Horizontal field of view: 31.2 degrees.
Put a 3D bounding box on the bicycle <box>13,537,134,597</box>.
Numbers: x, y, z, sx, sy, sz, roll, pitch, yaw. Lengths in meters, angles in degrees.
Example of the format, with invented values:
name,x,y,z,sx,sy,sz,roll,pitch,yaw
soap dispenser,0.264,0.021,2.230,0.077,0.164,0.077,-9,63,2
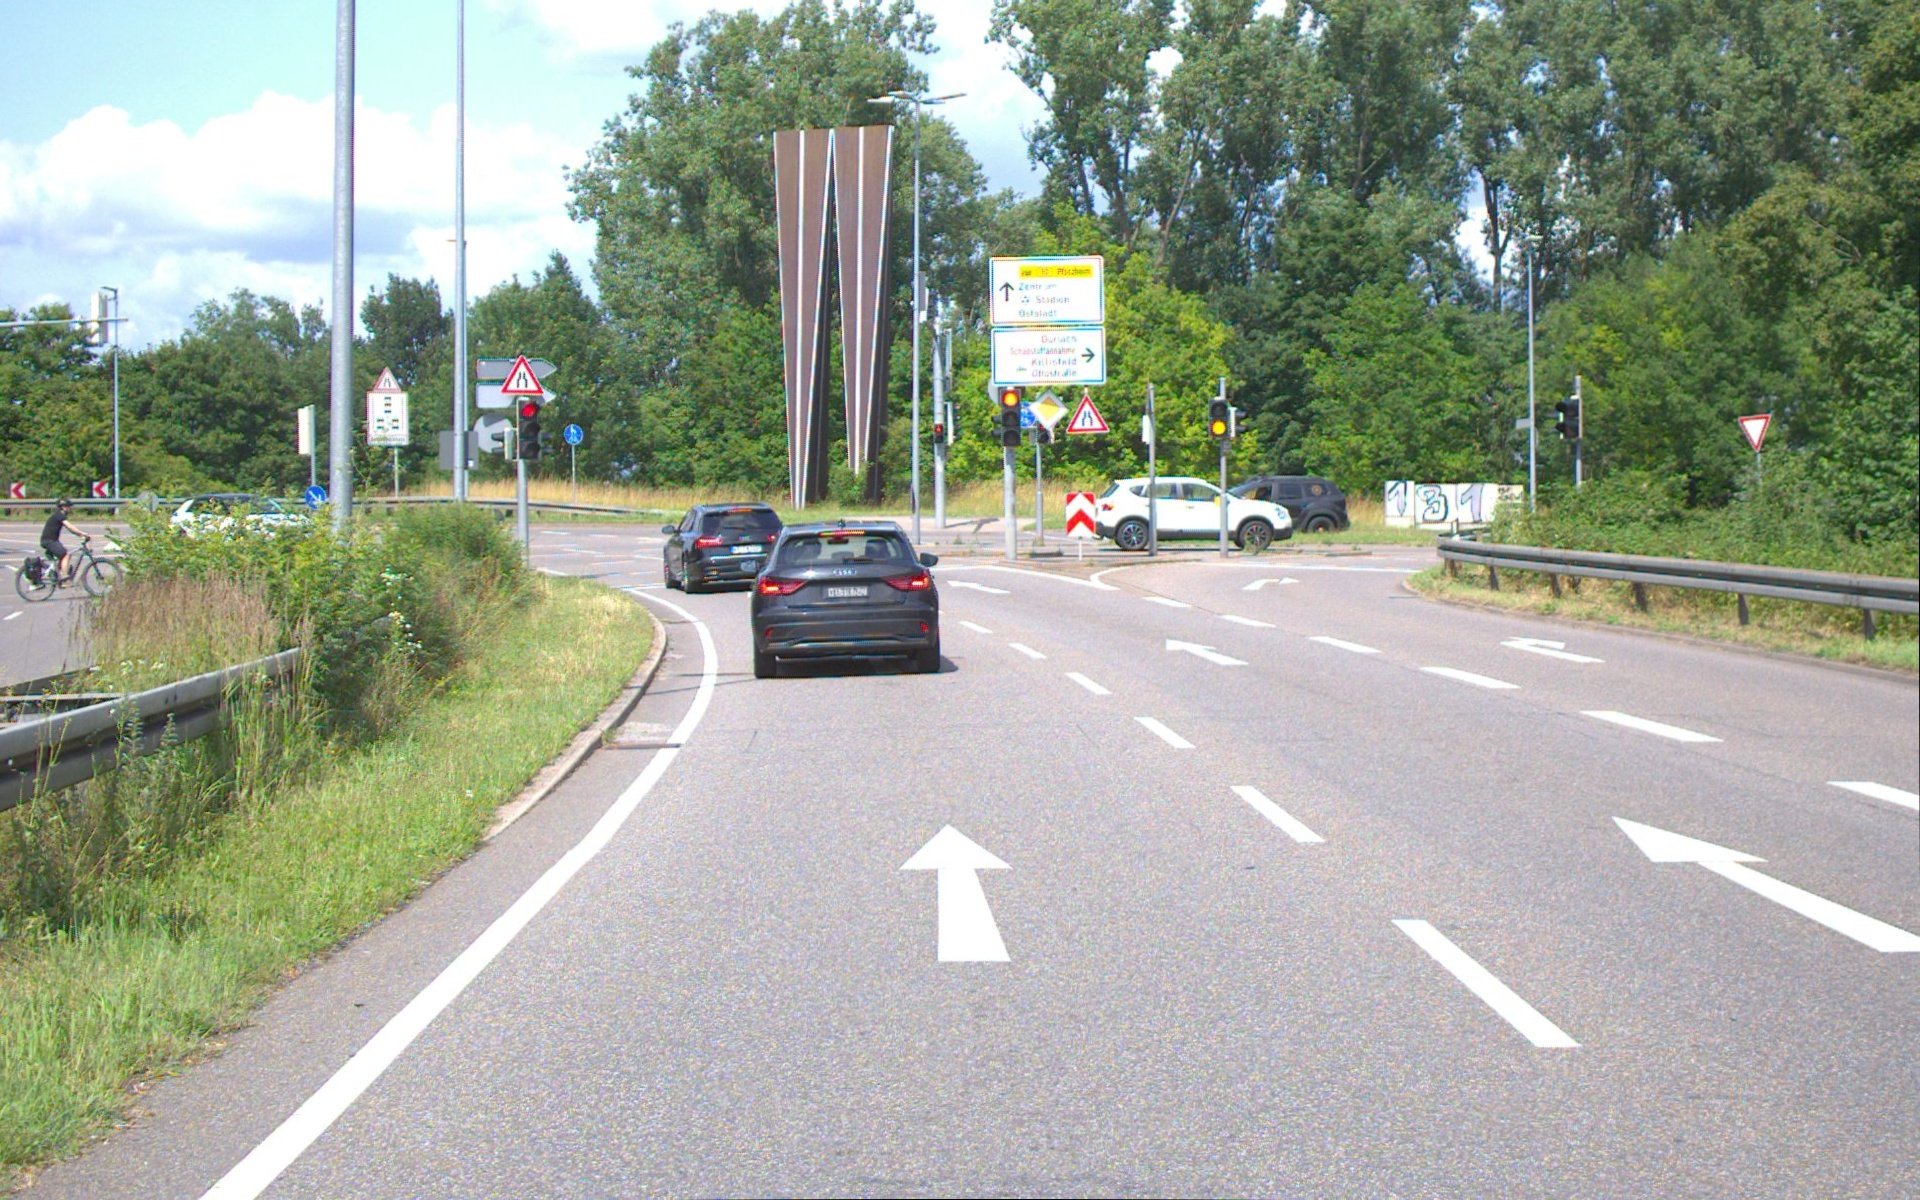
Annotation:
name,x,y,z,sx,sy,sz,roll,pitch,yaw
bicycle,-15.794,-0.594,61.231,2.052,1.020,0.672,-1,2,-16

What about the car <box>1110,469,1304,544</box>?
name,x,y,z,sx,sy,sz,roll,pitch,yaw
car,5.351,-2.024,74.798,4.024,1.504,1.956,1,0,-1

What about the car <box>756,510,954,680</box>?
name,x,y,z,sx,sy,sz,roll,pitch,yaw
car,-1.056,-0.099,32.782,1.726,1.399,4.001,-2,3,-3

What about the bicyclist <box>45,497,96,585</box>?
name,x,y,z,sx,sy,sz,roll,pitch,yaw
bicyclist,-15.838,-1.058,61.208,0.834,1.555,0.672,-1,2,-16

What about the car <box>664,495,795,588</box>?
name,x,y,z,sx,sy,sz,roll,pitch,yaw
car,-3.928,-1.018,58.062,1.726,1.418,3.846,-3,3,-10

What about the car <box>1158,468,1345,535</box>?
name,x,y,z,sx,sy,sz,roll,pitch,yaw
car,7.087,-2.410,83.874,4.267,1.539,1.737,-1,2,-7

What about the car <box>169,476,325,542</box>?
name,x,y,z,sx,sy,sz,roll,pitch,yaw
car,-16.649,-2.131,80.171,1.732,1.471,4.045,0,2,-42
